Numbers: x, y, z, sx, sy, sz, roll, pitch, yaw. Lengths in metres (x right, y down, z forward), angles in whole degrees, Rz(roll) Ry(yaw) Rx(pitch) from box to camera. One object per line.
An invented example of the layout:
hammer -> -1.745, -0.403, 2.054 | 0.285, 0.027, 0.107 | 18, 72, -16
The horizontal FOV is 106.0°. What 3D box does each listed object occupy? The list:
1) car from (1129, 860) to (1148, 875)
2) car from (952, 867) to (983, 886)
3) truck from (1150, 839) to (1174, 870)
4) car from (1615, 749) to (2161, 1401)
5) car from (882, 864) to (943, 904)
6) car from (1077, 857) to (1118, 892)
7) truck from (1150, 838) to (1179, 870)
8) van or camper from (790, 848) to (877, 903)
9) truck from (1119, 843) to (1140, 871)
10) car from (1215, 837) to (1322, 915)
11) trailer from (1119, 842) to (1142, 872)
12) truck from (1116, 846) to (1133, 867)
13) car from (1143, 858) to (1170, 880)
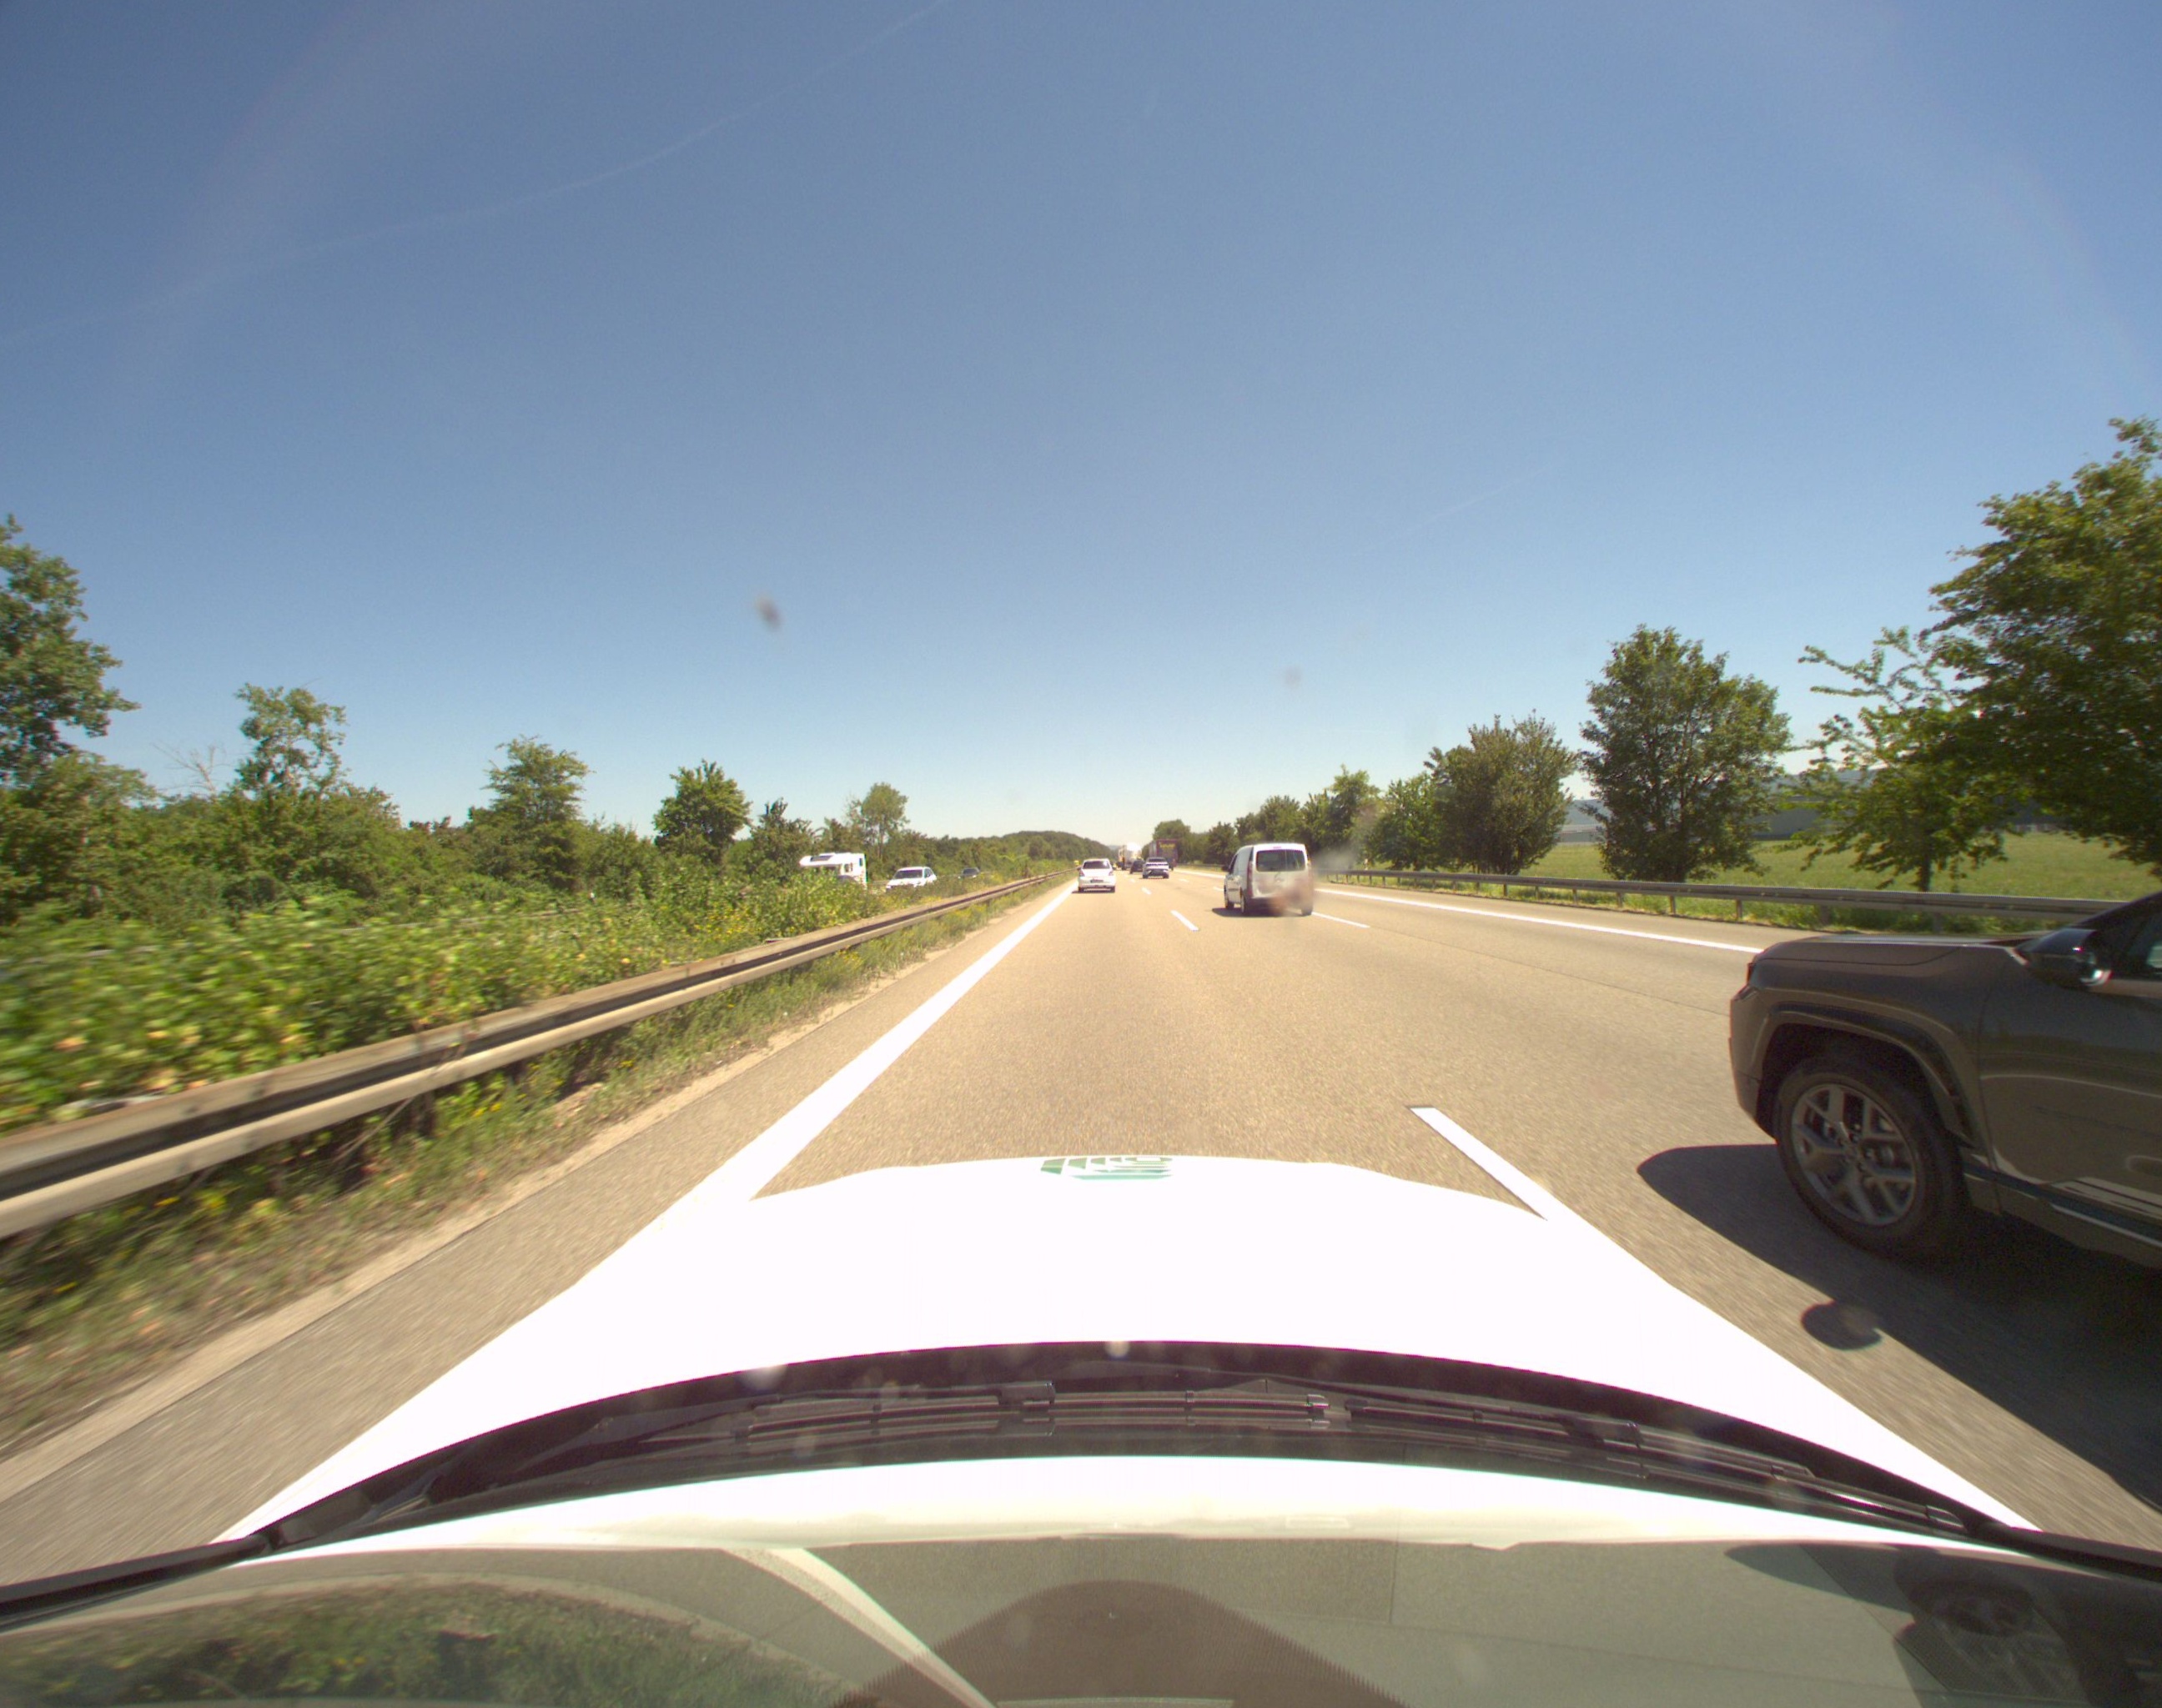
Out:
car -> 5.887, 1.399, 84.116 | 1.843, 1.523, 3.958 | -1, -1, 2
car -> -10.243, 2.013, 73.892 | 1.950, 1.468, 4.752 | -4, 0, 1
truck -> 11.555, 0.093, 116.727 | 3.096, 4.139, 8.061 | -1, -1, 3
car -> 3.692, 0.557, 1.925 | 1.860, 1.675, 4.748 | -1, -1, 2
car -> -8.096, 1.400, 39.565 | 1.728, 1.615, 4.592 | -7, -1, 1
car -> 0.786, 0.911, 37.739 | 1.793, 1.552, 3.610 | -1, -1, 1
truck -> 11.317, 0.052, 111.470 | 3.096, 4.139, 15.521 | -1, 0, 3
van or camper -> -15.320, 1.271, 51.073 | 2.839, 2.969, 7.449 | -4, -1, 2
truck -> 7.356, 0.512, 123.694 | 2.901, 4.079, 7.196 | -1, -1, 1
car -> 4.932, 0.558, 22.054 | 1.847, 1.863, 4.702 | -1, -1, 1
trailer -> 7.205, 0.461, 119.114 | 2.900, 4.069, 12.422 | -1, -1, 2
truck -> 9.084, 0.478, 169.358 | 3.381, 4.214, 12.091 | -1, -1, 3
car -> 5.722, 1.096, 62.319 | 1.795, 1.603, 4.382 | -1, -1, 2
